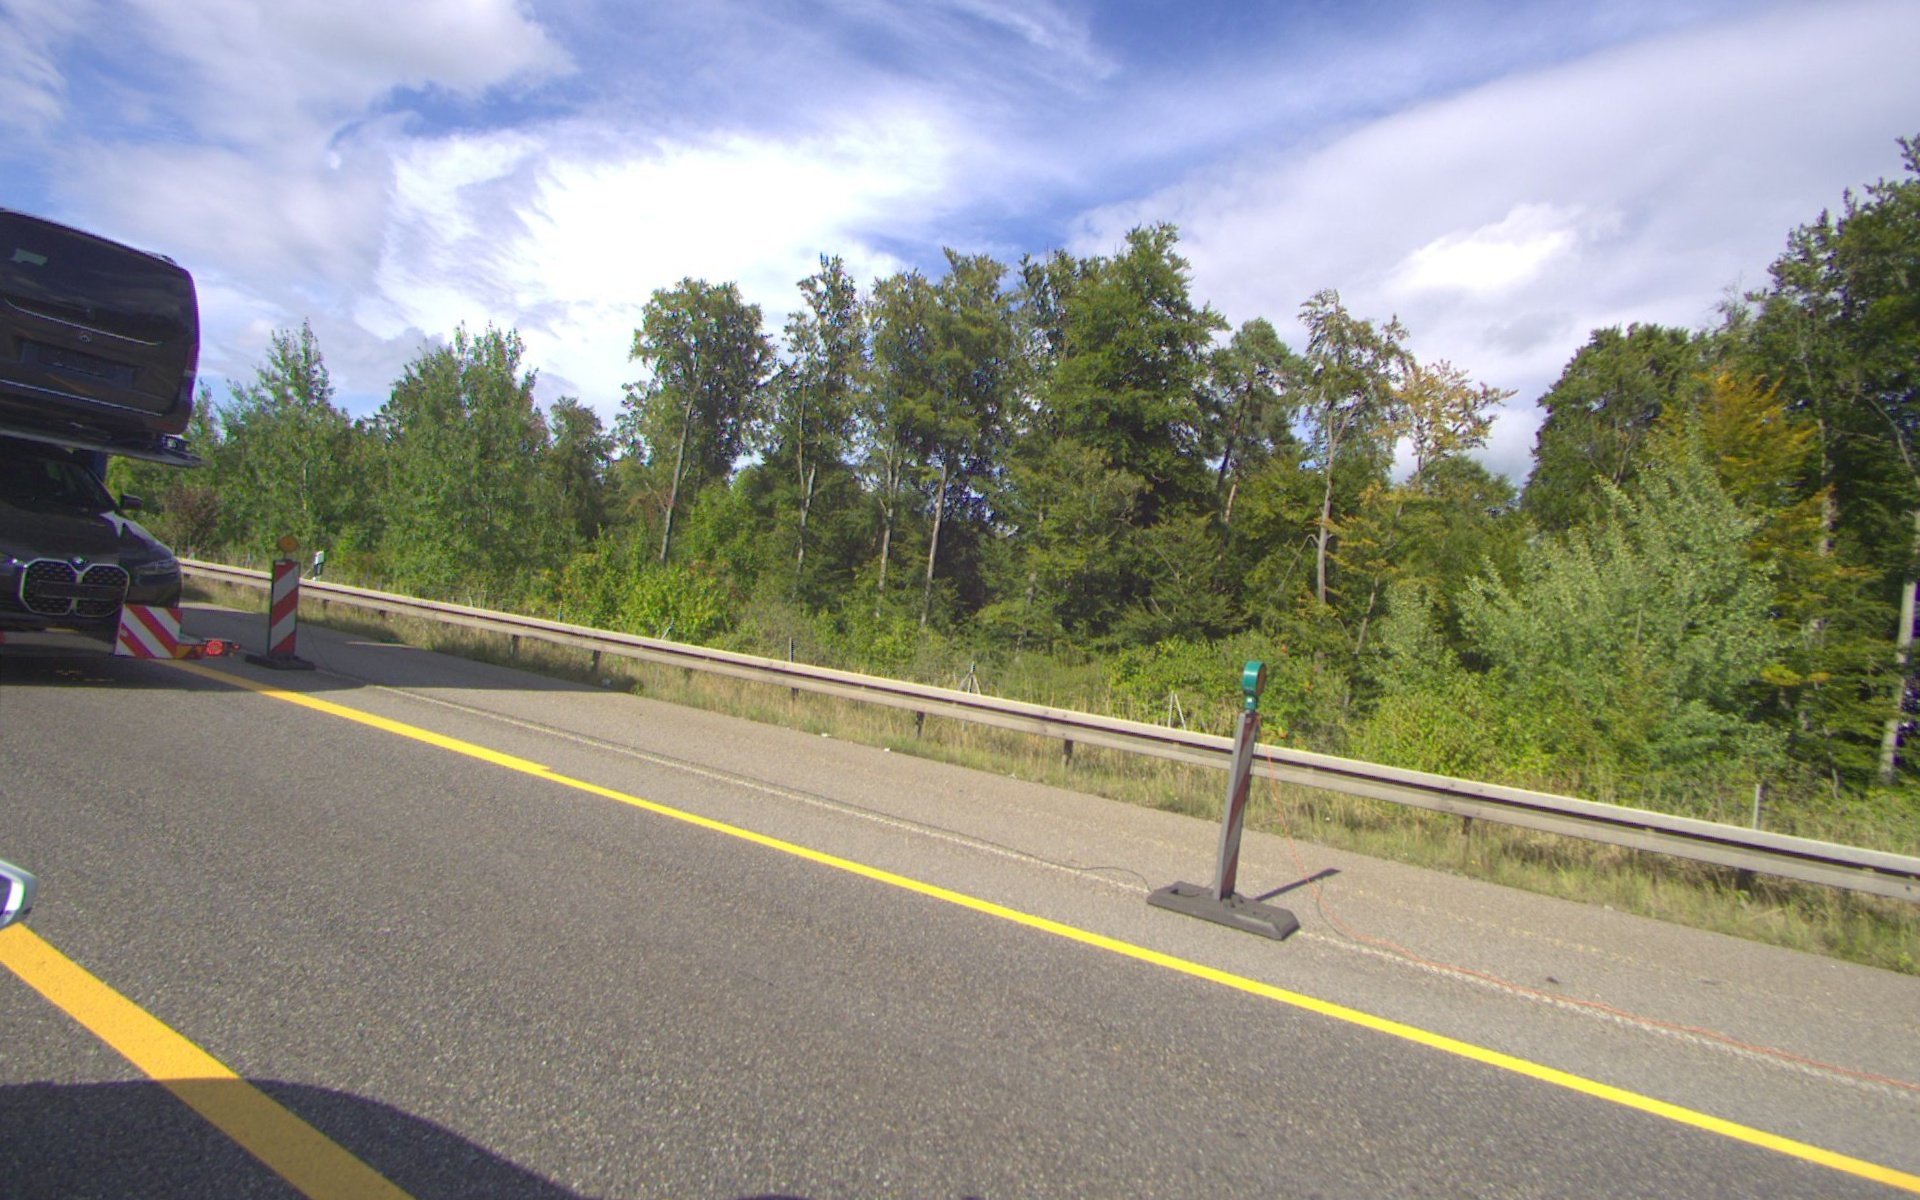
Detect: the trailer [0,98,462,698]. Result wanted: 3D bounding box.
[{"bbox_3d":[-13.100,-2.027,12.586,15.952,4.245,3.734,6,-2,30],"label":"trailer"}]
